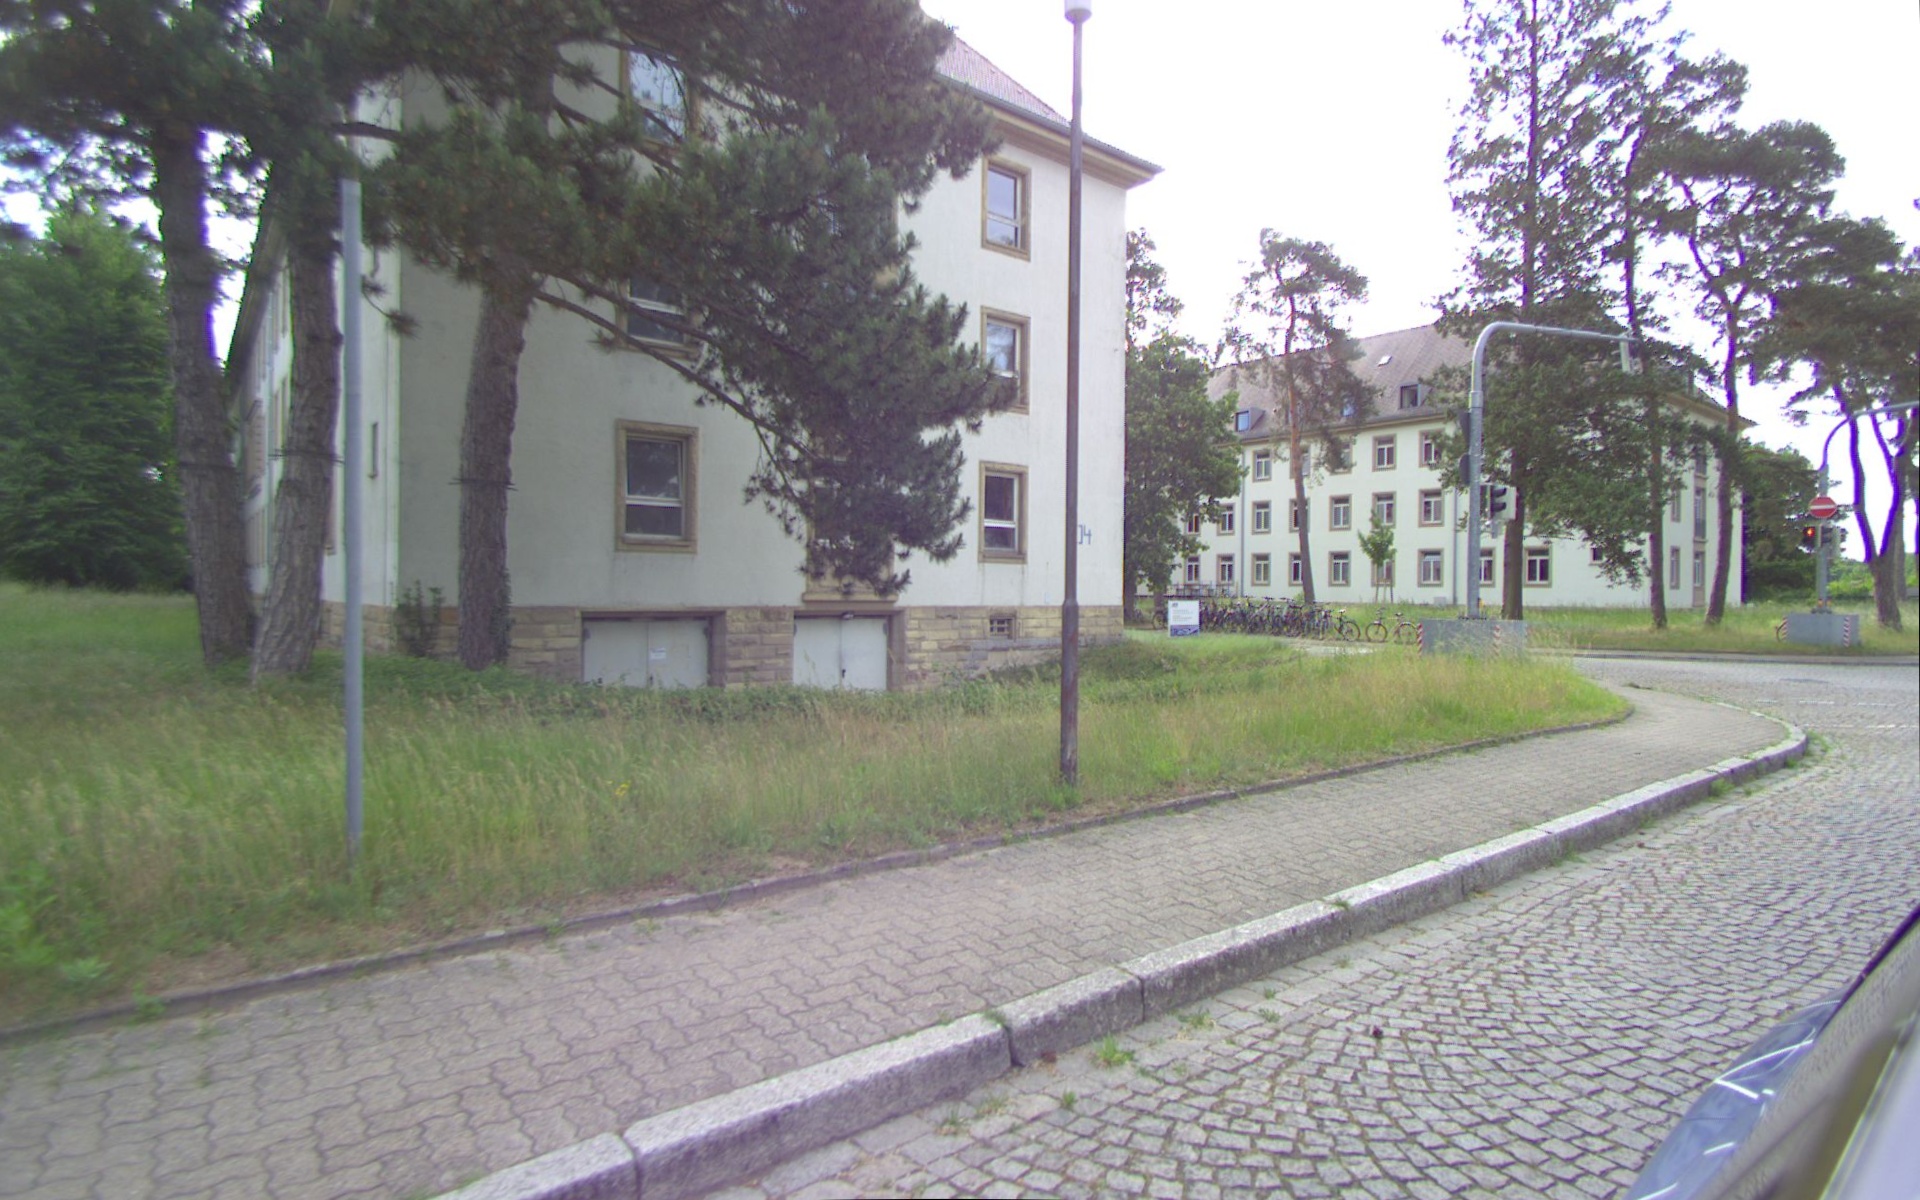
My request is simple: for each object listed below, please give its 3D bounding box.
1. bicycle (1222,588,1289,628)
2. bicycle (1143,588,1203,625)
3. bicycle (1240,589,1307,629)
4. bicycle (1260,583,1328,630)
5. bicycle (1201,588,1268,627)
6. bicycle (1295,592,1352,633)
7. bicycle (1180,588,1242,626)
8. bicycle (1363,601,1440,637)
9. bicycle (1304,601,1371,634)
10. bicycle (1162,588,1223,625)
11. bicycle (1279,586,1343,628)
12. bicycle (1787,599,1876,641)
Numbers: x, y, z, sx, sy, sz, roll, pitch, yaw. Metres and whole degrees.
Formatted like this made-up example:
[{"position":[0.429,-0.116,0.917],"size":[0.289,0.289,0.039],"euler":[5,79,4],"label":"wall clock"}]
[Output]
[{"position":[10.736,0.284,36.708],"size":[2.761,1.389,0.949],"euler":[0,0,-39],"label":"bicycle"},{"position":[8.273,0.224,39.259],"size":[2.530,1.389,0.949],"euler":[0,0,-40],"label":"bicycle"},{"position":[11.318,0.295,36.491],"size":[2.761,1.389,0.949],"euler":[0,0,-39],"label":"bicycle"},{"position":[11.797,0.202,35.683],"size":[2.761,1.603,0.949],"euler":[0,0,-39],"label":"bicycle"},{"position":[10.159,0.278,37.390],"size":[2.761,1.389,0.949],"euler":[0,0,-39],"label":"bicycle"},{"position":[12.301,0.408,34.190],"size":[2.082,1.323,0.873],"euler":[0,0,-39],"label":"bicycle"},{"position":[9.450,0.240,38.054],"size":[2.530,1.389,0.949],"euler":[0,0,-40],"label":"bicycle"},{"position":[13.389,0.557,30.733],"size":[0.887,1.009,1.977],"euler":[0,0,-39],"label":"bicycle"},{"position":[12.034,0.542,32.326],"size":[0.716,1.009,1.979],"euler":[0,0,-34],"label":"bicycle"},{"position":[8.919,0.234,38.704],"size":[2.530,1.389,0.949],"euler":[0,0,-40],"label":"bicycle"},{"position":[12.070,0.230,34.787],"size":[2.580,1.384,0.873],"euler":[0,0,-39],"label":"bicycle"},{"position":[24.541,0.555,28.527],"size":[0.635,1.075,1.831],"euler":[-5,4,-41],"label":"bicycle"}]
